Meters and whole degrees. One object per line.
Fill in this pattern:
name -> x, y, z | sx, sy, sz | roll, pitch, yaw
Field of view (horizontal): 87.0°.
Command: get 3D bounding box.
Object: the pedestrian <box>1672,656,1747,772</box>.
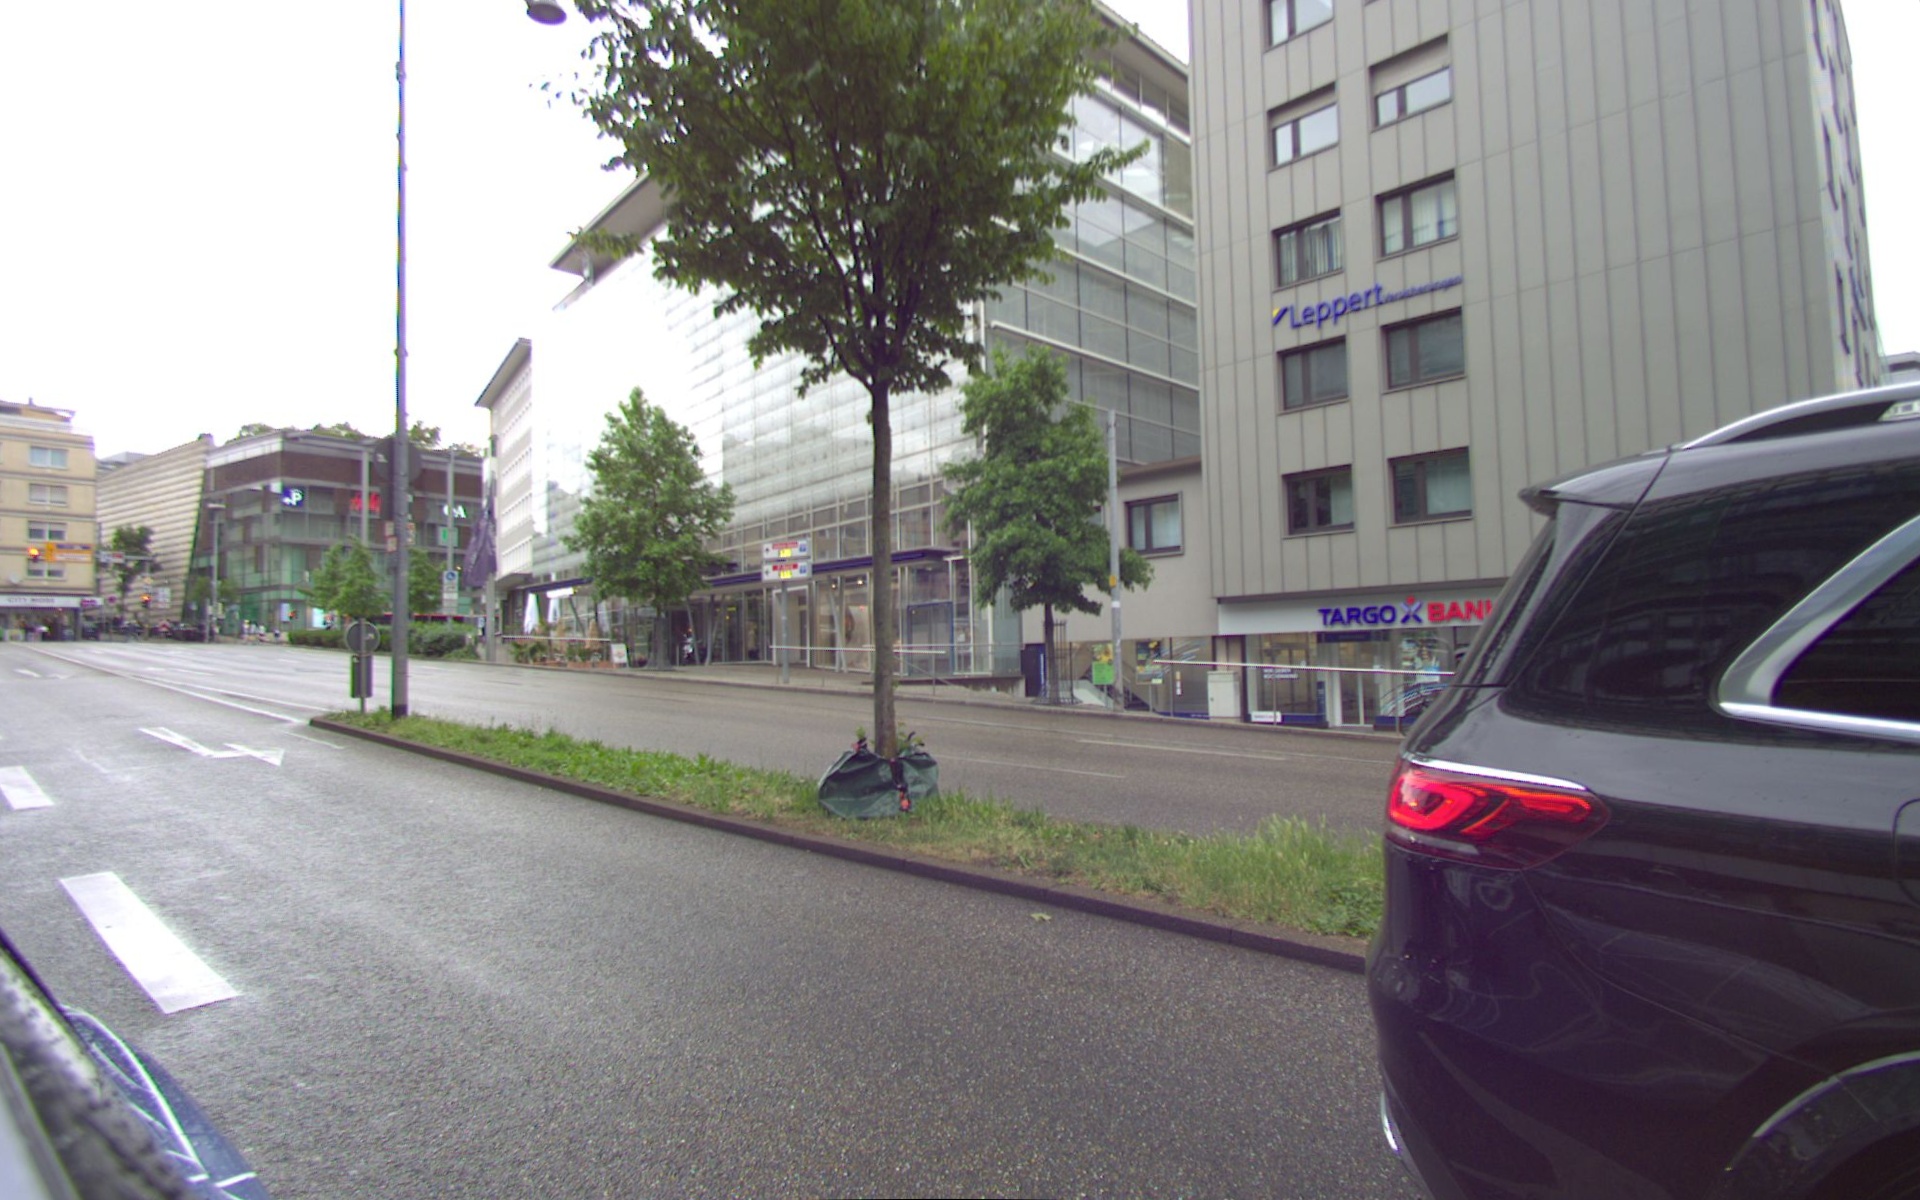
pedestrian -> 11.351, 1.696, 15.332 | 0.626, 1.649, 0.791 | 0, 0, -41

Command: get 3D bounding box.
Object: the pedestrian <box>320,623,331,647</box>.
pedestrian -> -47.538, 2.634, 75.823 | 0.618, 1.788, 0.689 | 0, 0, -45

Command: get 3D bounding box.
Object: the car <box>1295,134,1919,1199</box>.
car -> 3.097, 0.383, 0.787 | 5.069, 1.884, 1.892 | 0, 0, 40

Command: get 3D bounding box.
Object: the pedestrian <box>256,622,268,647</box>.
pedestrian -> -51.019, 2.546, 74.010 | 0.617, 1.788, 0.689 | 0, 0, -43

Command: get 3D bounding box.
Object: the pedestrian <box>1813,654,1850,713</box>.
pedestrian -> 25.966, 2.478, 30.156 | 0.724, 1.710, 0.781 | 0, -3, 34

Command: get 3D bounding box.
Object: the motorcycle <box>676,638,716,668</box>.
motorcycle -> -11.983, 2.419, 45.965 | 0.620, 1.336, 1.685 | -1, -3, 41

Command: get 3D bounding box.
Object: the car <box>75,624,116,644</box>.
car -> -90.286, 3.584, 105.678 | 4.575, 2.029, 1.977 | 0, -2, 34

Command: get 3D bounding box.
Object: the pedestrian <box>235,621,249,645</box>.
pedestrian -> -50.382, 2.334, 70.974 | 0.602, 1.642, 0.625 | -1, -3, 42

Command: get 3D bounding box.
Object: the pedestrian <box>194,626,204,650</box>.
pedestrian -> -54.456, 2.723, 72.435 | 0.602, 1.642, 0.422 | -1, -3, 44

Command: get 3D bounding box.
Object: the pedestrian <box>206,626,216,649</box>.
pedestrian -> -52.533, 2.631, 70.980 | 0.422, 1.642, 0.603 | 3, -3, -45

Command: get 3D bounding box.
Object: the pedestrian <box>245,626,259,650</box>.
pedestrian -> -49.010, 2.637, 70.086 | 0.603, 1.642, 0.625 | -1, -3, 44
